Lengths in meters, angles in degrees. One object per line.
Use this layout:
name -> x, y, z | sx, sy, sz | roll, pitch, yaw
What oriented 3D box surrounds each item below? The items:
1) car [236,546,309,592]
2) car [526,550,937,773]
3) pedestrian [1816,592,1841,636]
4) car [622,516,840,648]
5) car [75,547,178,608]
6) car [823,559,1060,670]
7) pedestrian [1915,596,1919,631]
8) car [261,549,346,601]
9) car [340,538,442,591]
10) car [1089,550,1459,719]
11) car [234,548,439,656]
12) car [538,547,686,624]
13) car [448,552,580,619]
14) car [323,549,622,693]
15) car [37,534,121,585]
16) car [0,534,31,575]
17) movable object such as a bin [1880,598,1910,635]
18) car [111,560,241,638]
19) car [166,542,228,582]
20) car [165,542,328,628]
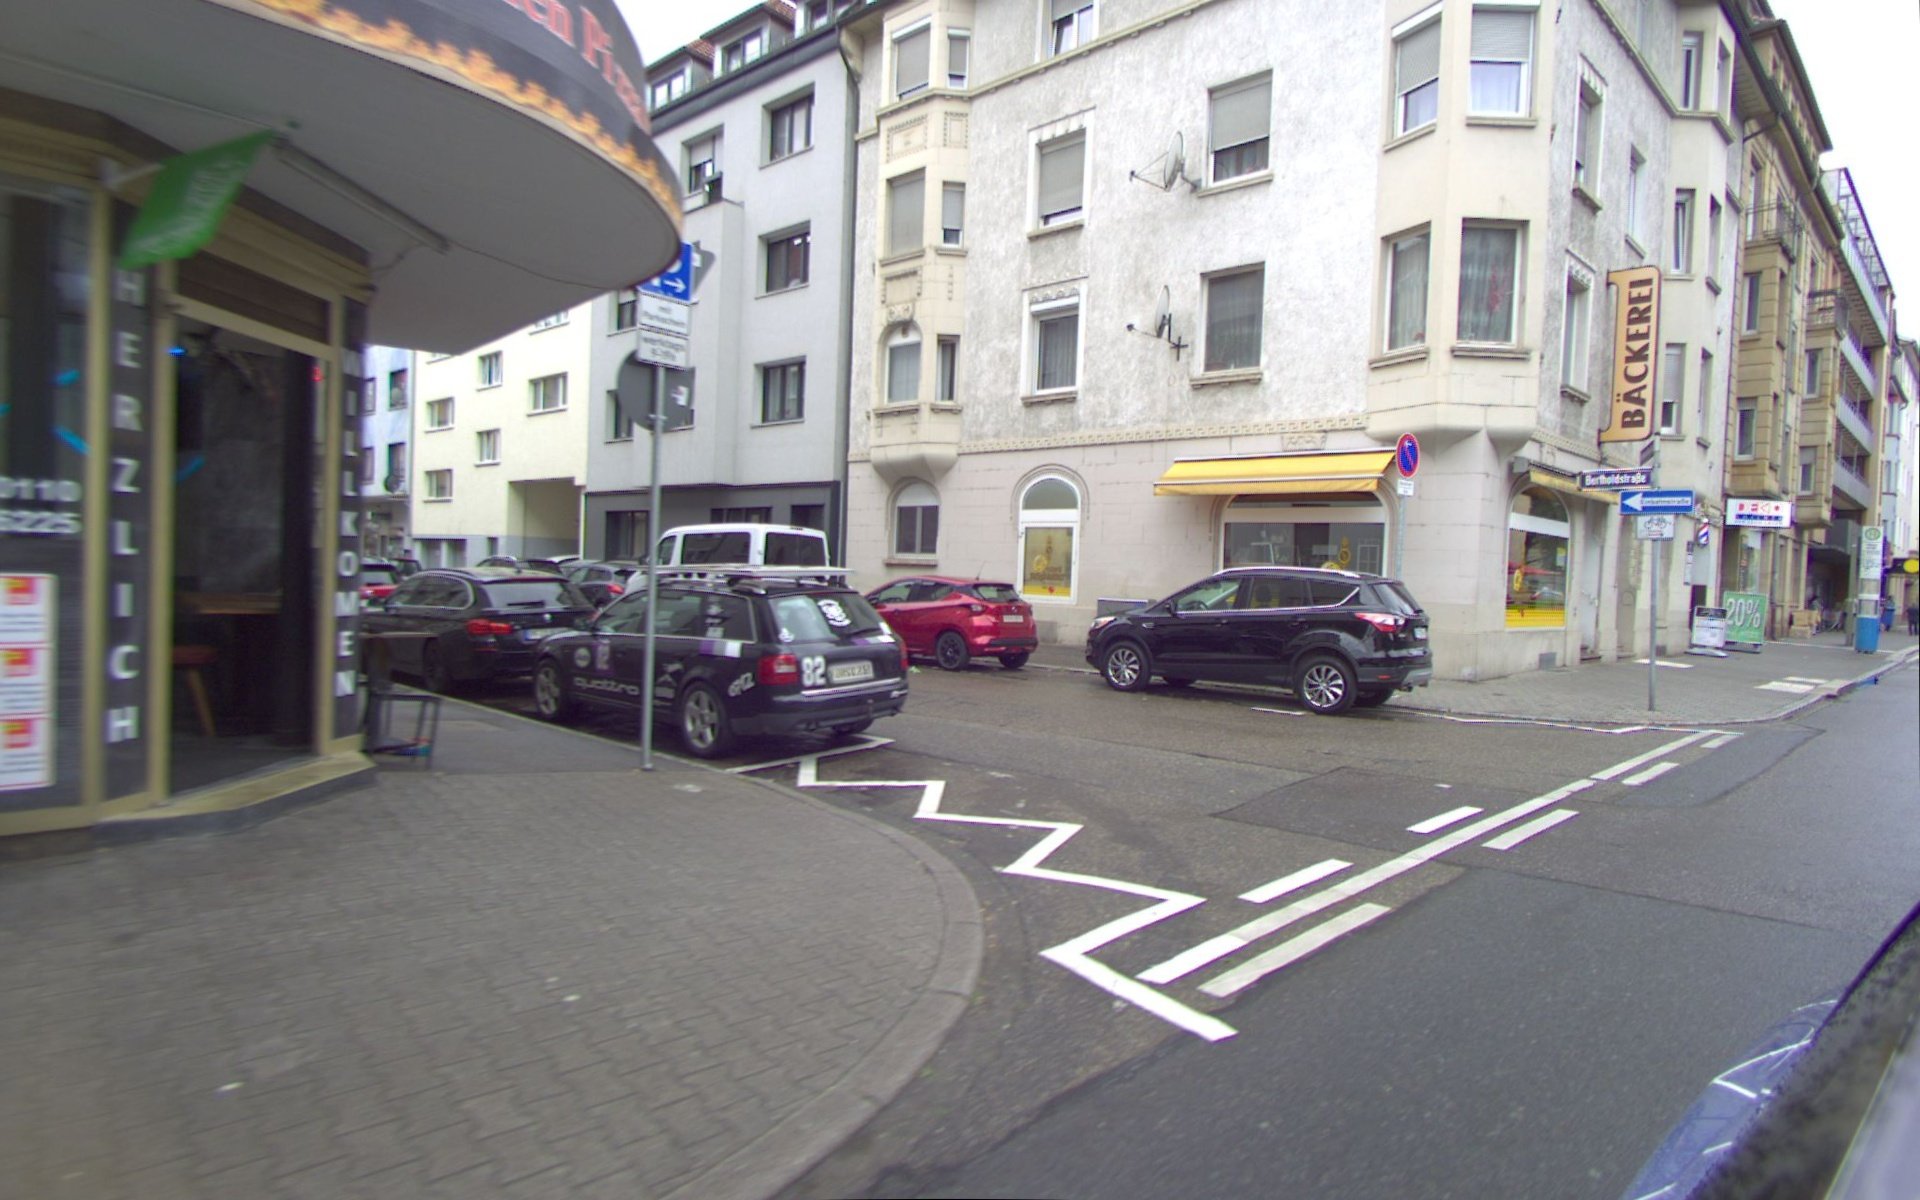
car -> -31.657, -1.454, 46.572 | 3.886, 2.015, 1.881 | 3, 2, 41
car -> -2.328, 0.374, 9.664 | 4.104, 1.627, 1.779 | 4, 4, 41
pedestrian -> 32.763, 0.523, 38.190 | 0.558, 1.592, 0.620 | 3, 1, 31
car -> -4.820, -0.416, 20.899 | 4.718, 2.434, 1.986 | 3, 2, 41
car -> -23.440, -0.654, 28.429 | 3.738, 1.611, 1.641 | 3, 2, 41
car -> -0.375, 0.166, 16.765 | 3.682, 1.509, 1.754 | 4, 3, 41
pedestrian -> 46.453, 0.686, 48.684 | 0.736, 1.672, 0.626 | 2, 2, -43
car -> -26.645, -1.031, 41.031 | 3.886, 2.015, 1.881 | 3, 2, 41
car -> -19.733, -1.238, 35.049 | 3.886, 1.712, 1.881 | 3, 2, 41
car -> 3.933, 0.319, 13.049 | 4.134, 1.794, 1.846 | 3, 1, 40
car -> -10.566, -0.043, 17.063 | 3.886, 1.598, 1.881 | 3, 2, 41
car -> -8.465, -0.384, 24.519 | 3.543, 1.712, 1.881 | 3, 2, 41
car -> -12.345, -0.438, 27.924 | 3.886, 1.712, 1.881 | 3, 2, 41
car -> -6.443, 0.145, 13.121 | 4.614, 1.552, 1.845 | 3, 2, 41
car -> -29.577, -1.361, 33.954 | 3.738, 1.611, 1.641 | 3, 2, 41
car -> -49.351, -2.363, 51.860 | 3.981, 2.038, 1.972 | 3, 2, 39
movable object such as a bin -> 48.084, 0.810, 52.057 | 1.000, 1.815, 1.275 | 4, 3, 45
car -> -19.638, -0.076, 25.299 | 3.886, 1.761, 1.881 | 3, 2, 41
car -> -41.707, -2.099, 55.307 | 3.985, 2.038, 1.970 | 3, 2, 41
car -> -14.777, -0.357, 20.895 | 3.886, 1.598, 1.881 | 3, 2, 41
